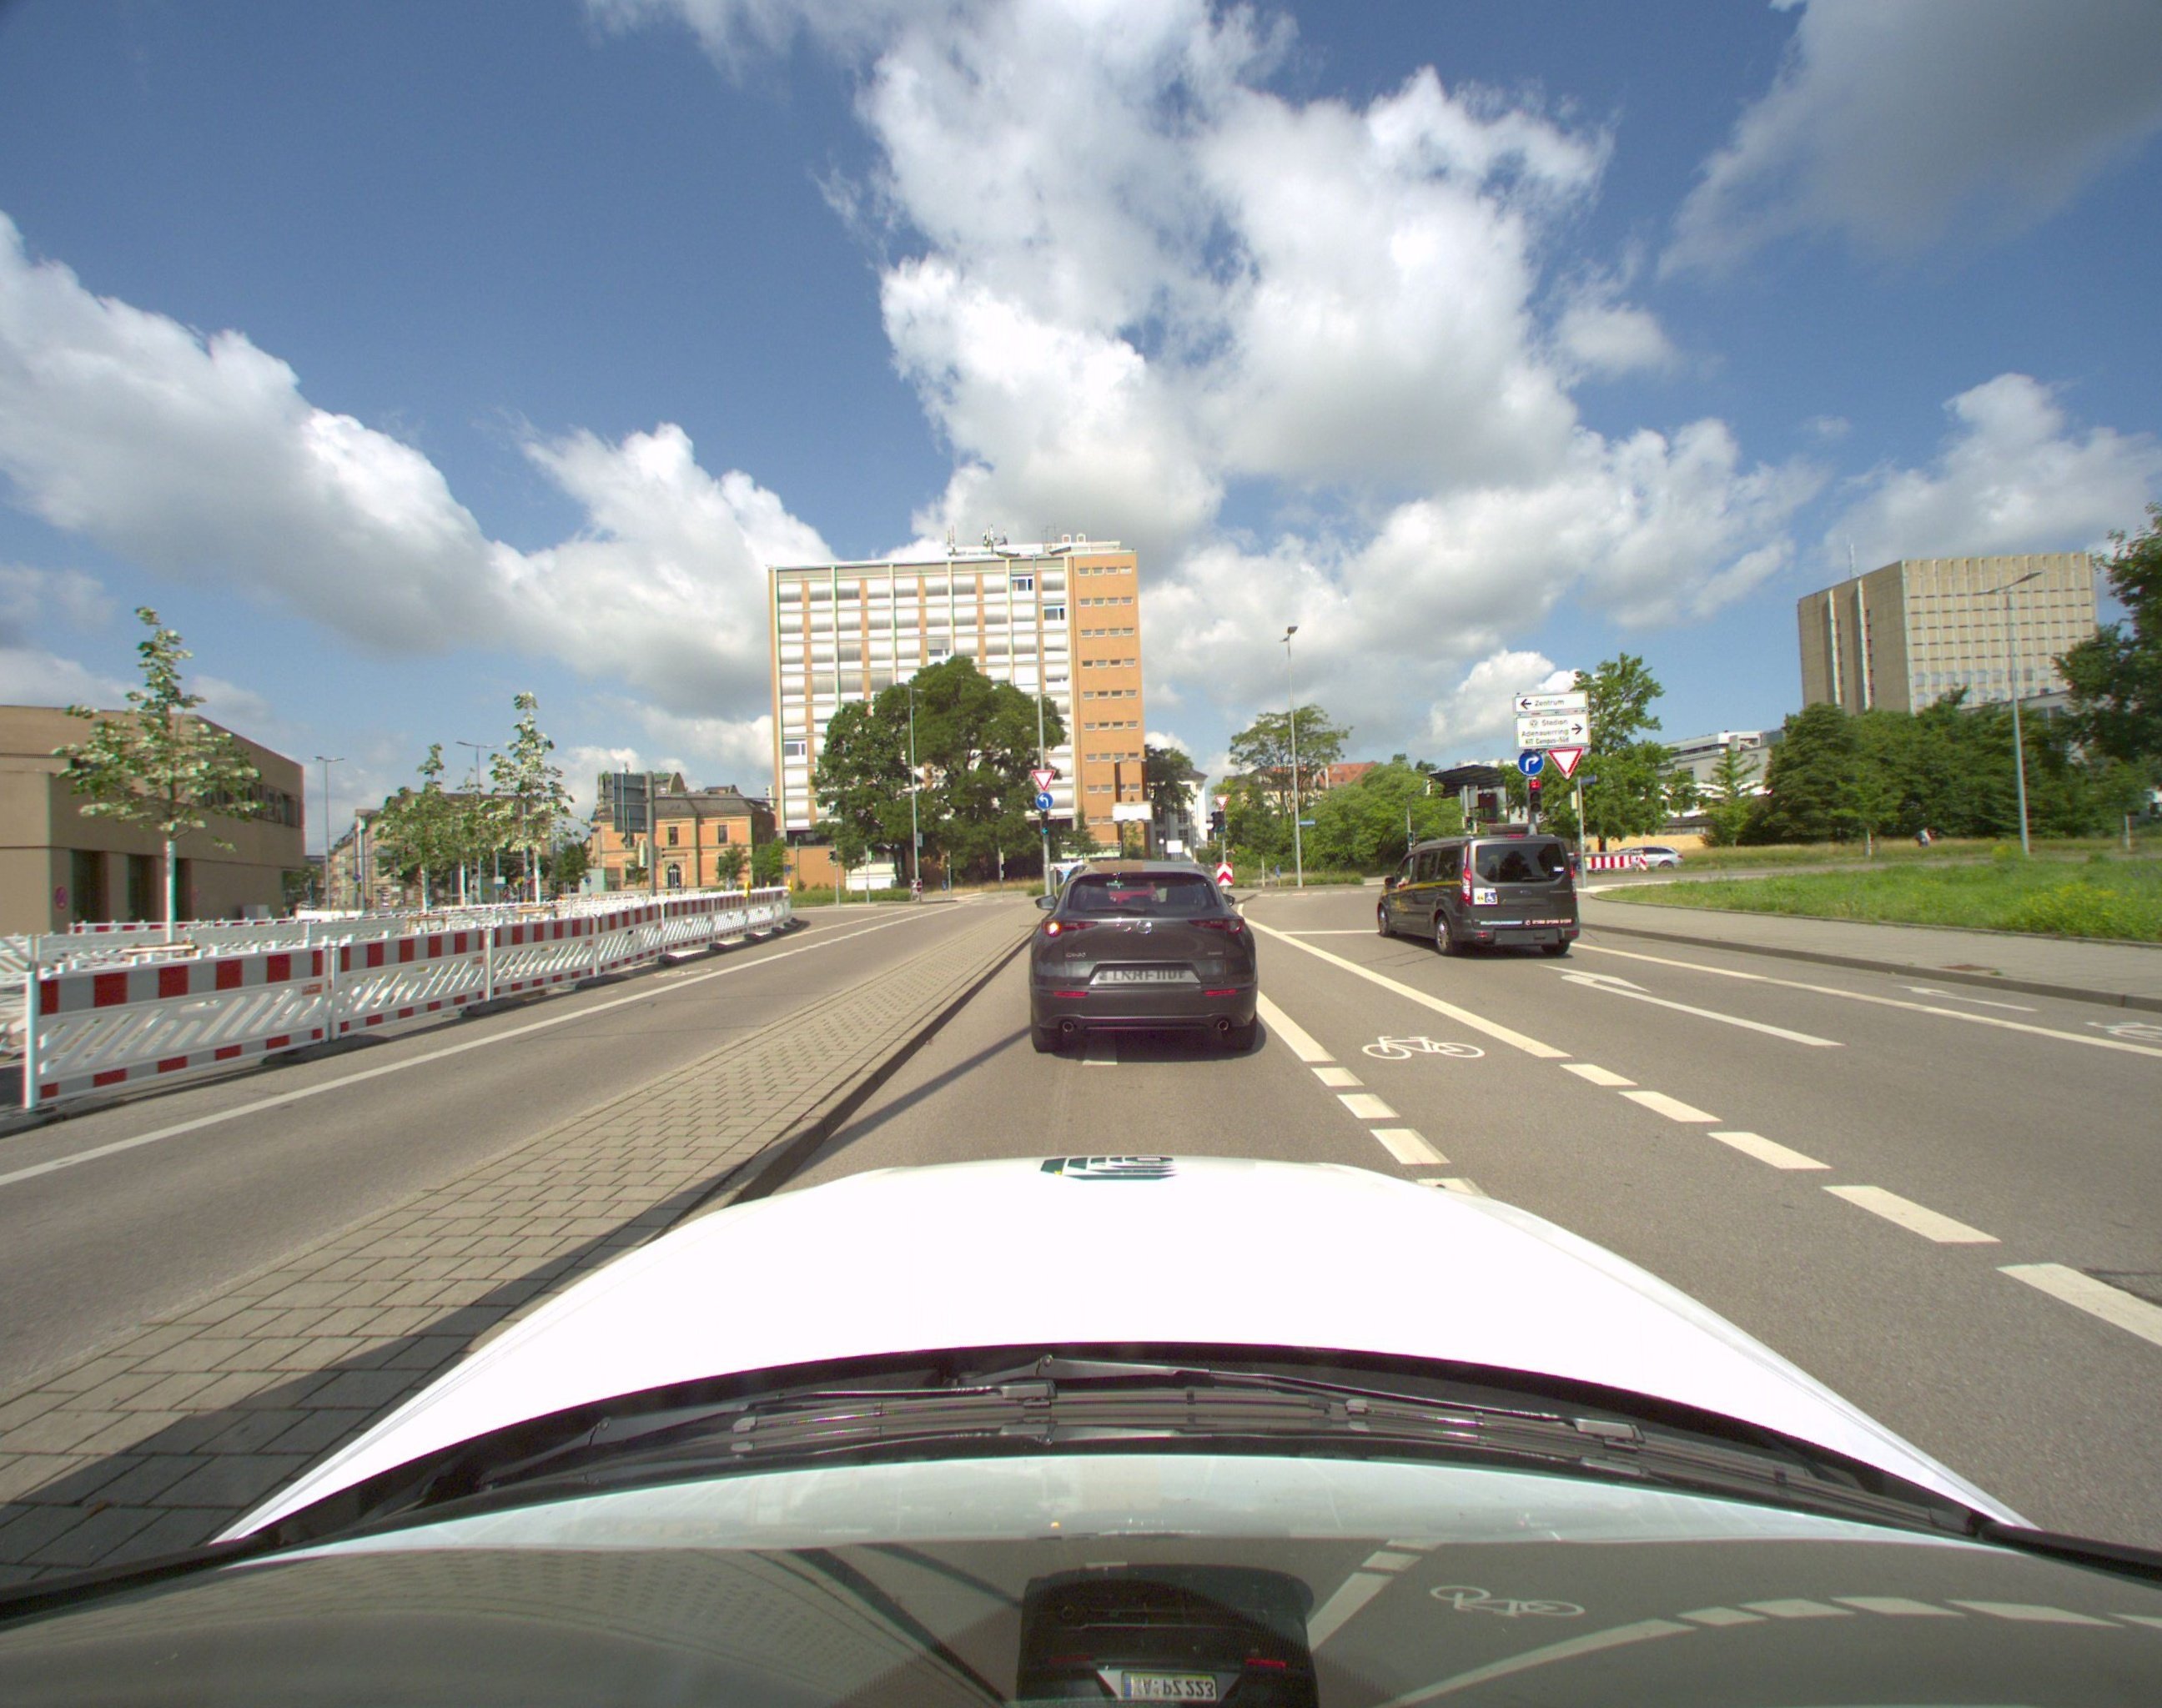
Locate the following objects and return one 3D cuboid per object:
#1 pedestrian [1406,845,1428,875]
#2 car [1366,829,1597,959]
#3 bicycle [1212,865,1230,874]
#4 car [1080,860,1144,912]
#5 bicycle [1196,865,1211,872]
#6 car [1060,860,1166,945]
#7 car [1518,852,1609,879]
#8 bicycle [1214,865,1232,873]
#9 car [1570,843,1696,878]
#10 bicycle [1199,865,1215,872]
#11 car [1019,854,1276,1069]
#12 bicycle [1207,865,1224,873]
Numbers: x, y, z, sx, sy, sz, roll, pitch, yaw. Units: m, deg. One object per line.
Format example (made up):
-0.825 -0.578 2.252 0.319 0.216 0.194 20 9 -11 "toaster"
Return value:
21.028 0.390 50.988 0.696 1.857 1.177 -3 -2 -8 "pedestrian"
6.429 0.590 13.762 1.840 1.785 4.676 -1 -1 4 "car"
16.814 1.881 97.810 2.048 0.936 0.804 -3 -2 1 "bicycle"
1.050 0.991 26.440 1.840 1.472 4.338 -3 -1 3 "car"
17.255 2.037 114.863 2.048 0.936 0.804 -3 -2 1 "bicycle"
0.706 0.858 15.990 1.808 1.439 4.072 -1 -1 4 "car"
28.311 0.645 47.878 4.128 1.377 2.002 -3 0 4 "car"
17.578 1.822 100.624 2.048 0.936 0.804 -3 -2 1 "bicycle"
27.366 0.344 40.520 4.739 1.442 2.065 -3 -3 6 "car"
16.979 1.967 110.008 2.048 0.936 0.804 -3 -2 1 "bicycle"
0.535 0.776 7.831 1.799 1.508 4.206 0 -1 2 "car"
17.316 1.892 105.233 2.048 0.936 0.804 -3 -2 1 "bicycle"
